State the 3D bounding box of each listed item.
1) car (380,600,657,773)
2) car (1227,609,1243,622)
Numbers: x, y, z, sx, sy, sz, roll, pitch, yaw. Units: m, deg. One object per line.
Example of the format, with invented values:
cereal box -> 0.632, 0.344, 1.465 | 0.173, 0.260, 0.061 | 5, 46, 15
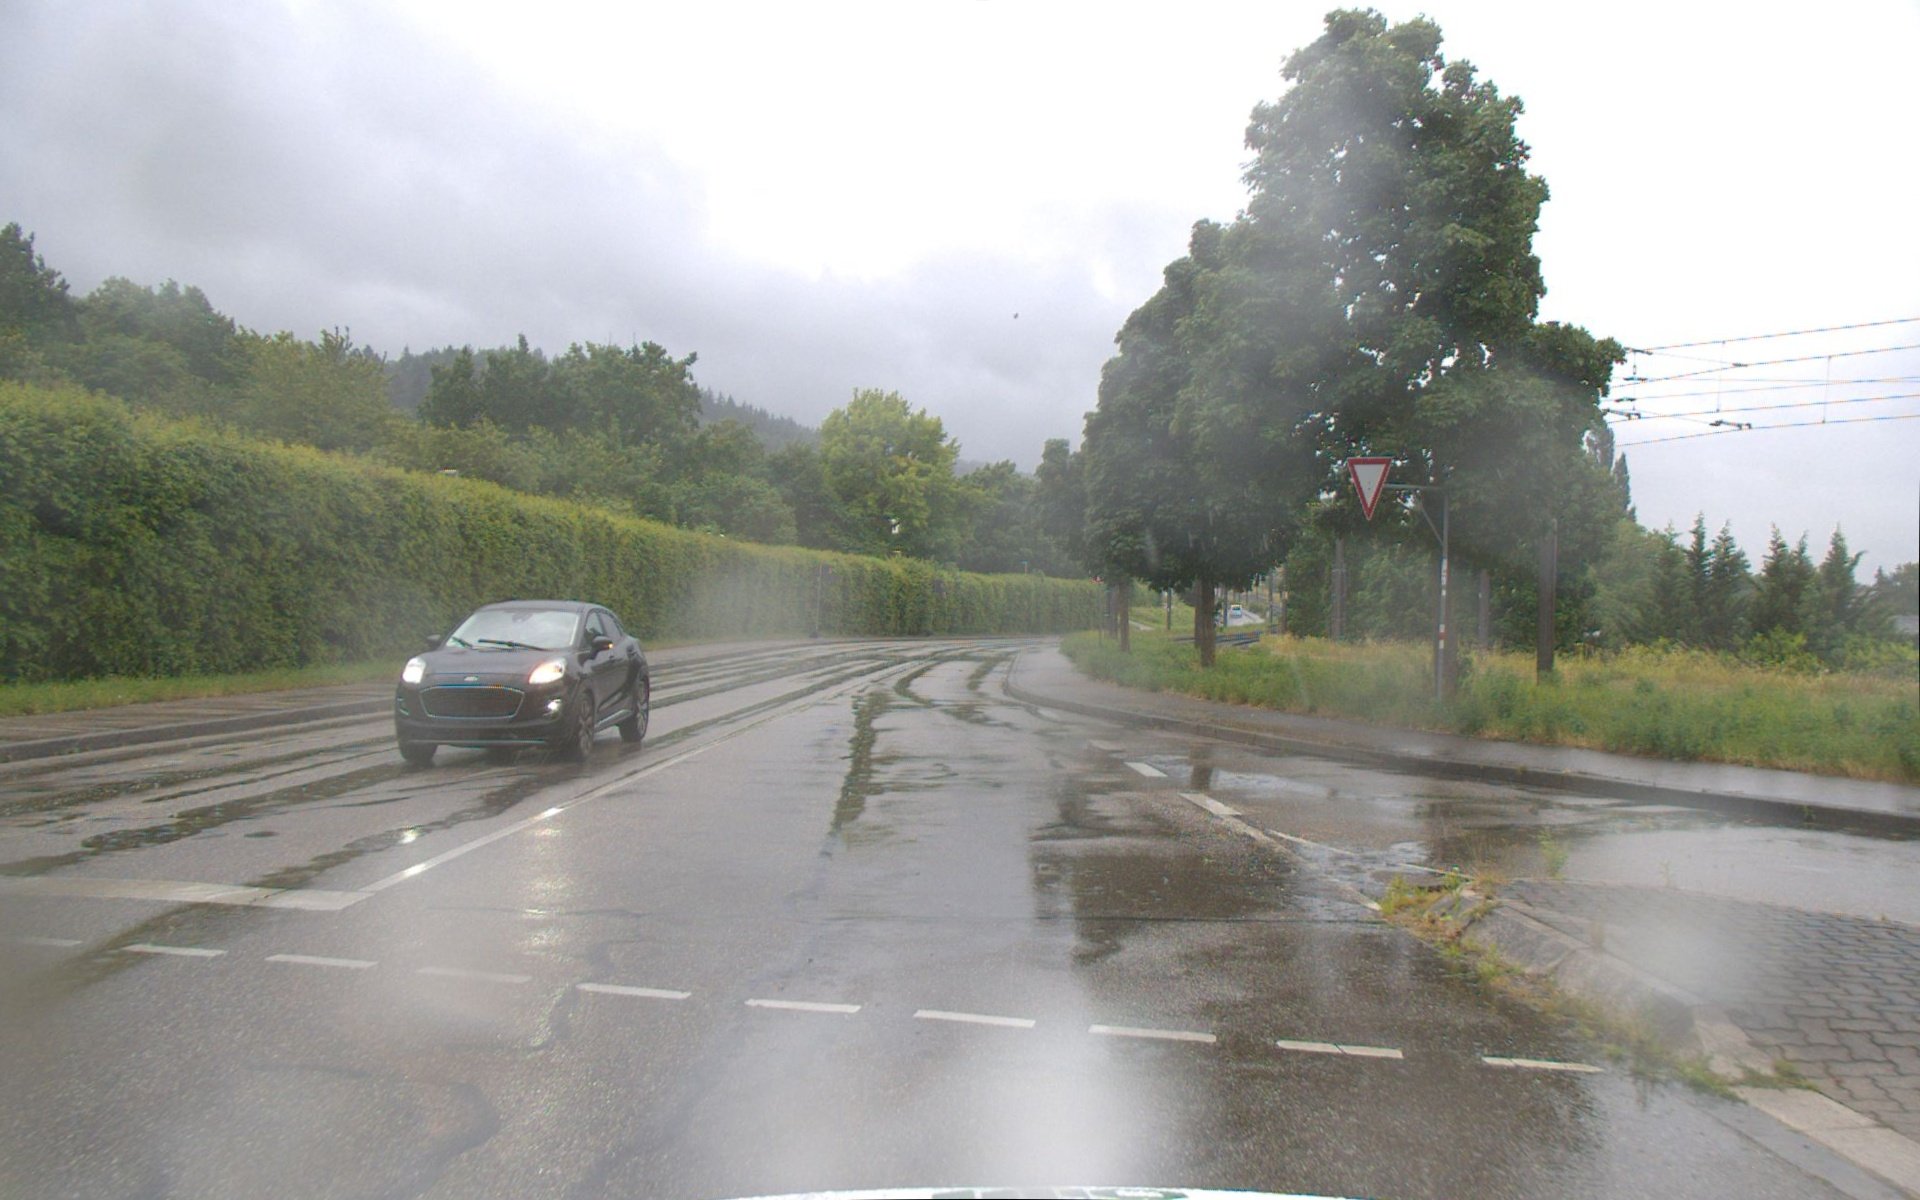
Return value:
car -> -4.372, 0.785, 17.035 | 1.748, 1.531, 4.060 | 1, 0, 0
car -> 40.814, 2.290, 245.395 | 1.912, 1.937, 4.123 | 1, 0, 15
